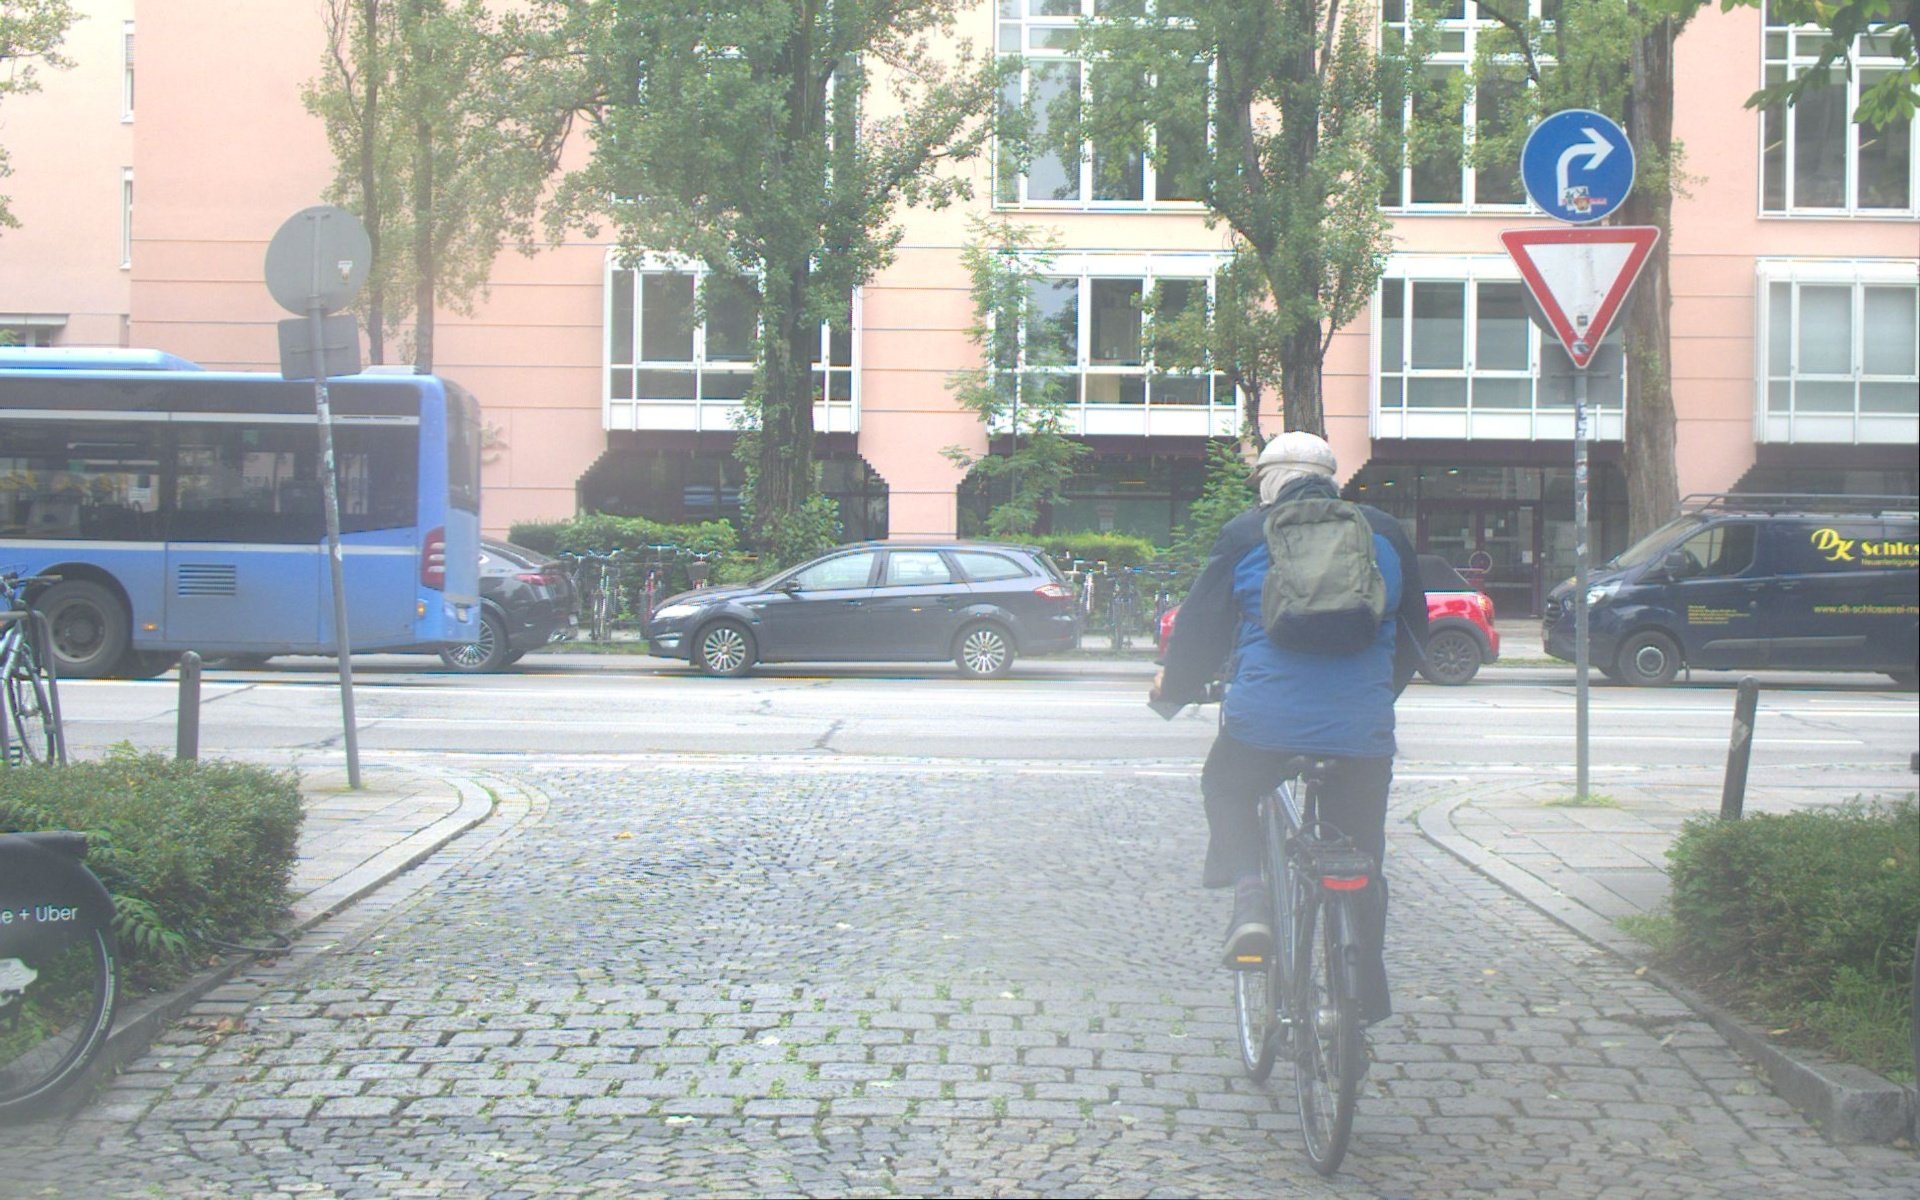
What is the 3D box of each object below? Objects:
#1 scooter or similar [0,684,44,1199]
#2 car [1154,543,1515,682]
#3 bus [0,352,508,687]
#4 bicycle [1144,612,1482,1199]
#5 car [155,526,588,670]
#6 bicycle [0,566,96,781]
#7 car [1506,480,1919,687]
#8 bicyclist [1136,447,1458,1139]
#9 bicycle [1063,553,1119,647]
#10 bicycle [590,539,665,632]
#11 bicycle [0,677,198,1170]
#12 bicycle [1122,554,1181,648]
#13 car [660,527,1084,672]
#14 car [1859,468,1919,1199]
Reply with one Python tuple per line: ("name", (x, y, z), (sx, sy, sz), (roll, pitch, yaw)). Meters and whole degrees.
("scooter or similar", (-2.762, 0.768, 7.508), (1.425, 1.140, 0.369), (0, 1, -23))
("car", (4.103, 0.117, 38.055), (3.861, 1.444, 1.678), (1, 1, 4))
("bus", (-8.777, -0.782, 32.866), (8.490, 3.041, 2.927), (0, 1, 1))
("bicycle", (0.825, 0.683, 8.521), (0.717, 1.143, 1.901), (1, 5, 3))
("car", (-6.520, -0.040, 38.409), (4.500, 1.523, 1.793), (1, 1, 1))
("bicycle", (-5.153, 0.379, 18.355), (0.490, 1.089, 1.703), (1, 1, 6))
("car", (8.970, -0.198, 38.188), (5.479, 2.189, 2.024), (1, 1, 1))
("bicyclist", (0.808, 0.443, 8.444), (0.722, 1.614, 0.757), (1, 1, 3))
("bicycle", (1.619, -0.015, 42.604), (0.674, 1.120, 1.742), (0, 1, 2))
("bicycle", (-4.144, -0.190, 42.966), (0.674, 1.120, 1.989), (0, 1, 2))
("bicycle", (-2.756, 0.774, 8.164), (1.757, 1.139, 0.554), (0, 1, -30))
("bicycle", (2.359, -0.004, 42.564), (0.674, 1.120, 1.742), (0, 1, 2))
("car", (-0.945, -0.025, 38.402), (4.608, 1.523, 1.793), (1, 1, 1))
("car", (2.906, 0.647, 5.125), (1.920, 1.694, 4.202), (1, 1, -1))
